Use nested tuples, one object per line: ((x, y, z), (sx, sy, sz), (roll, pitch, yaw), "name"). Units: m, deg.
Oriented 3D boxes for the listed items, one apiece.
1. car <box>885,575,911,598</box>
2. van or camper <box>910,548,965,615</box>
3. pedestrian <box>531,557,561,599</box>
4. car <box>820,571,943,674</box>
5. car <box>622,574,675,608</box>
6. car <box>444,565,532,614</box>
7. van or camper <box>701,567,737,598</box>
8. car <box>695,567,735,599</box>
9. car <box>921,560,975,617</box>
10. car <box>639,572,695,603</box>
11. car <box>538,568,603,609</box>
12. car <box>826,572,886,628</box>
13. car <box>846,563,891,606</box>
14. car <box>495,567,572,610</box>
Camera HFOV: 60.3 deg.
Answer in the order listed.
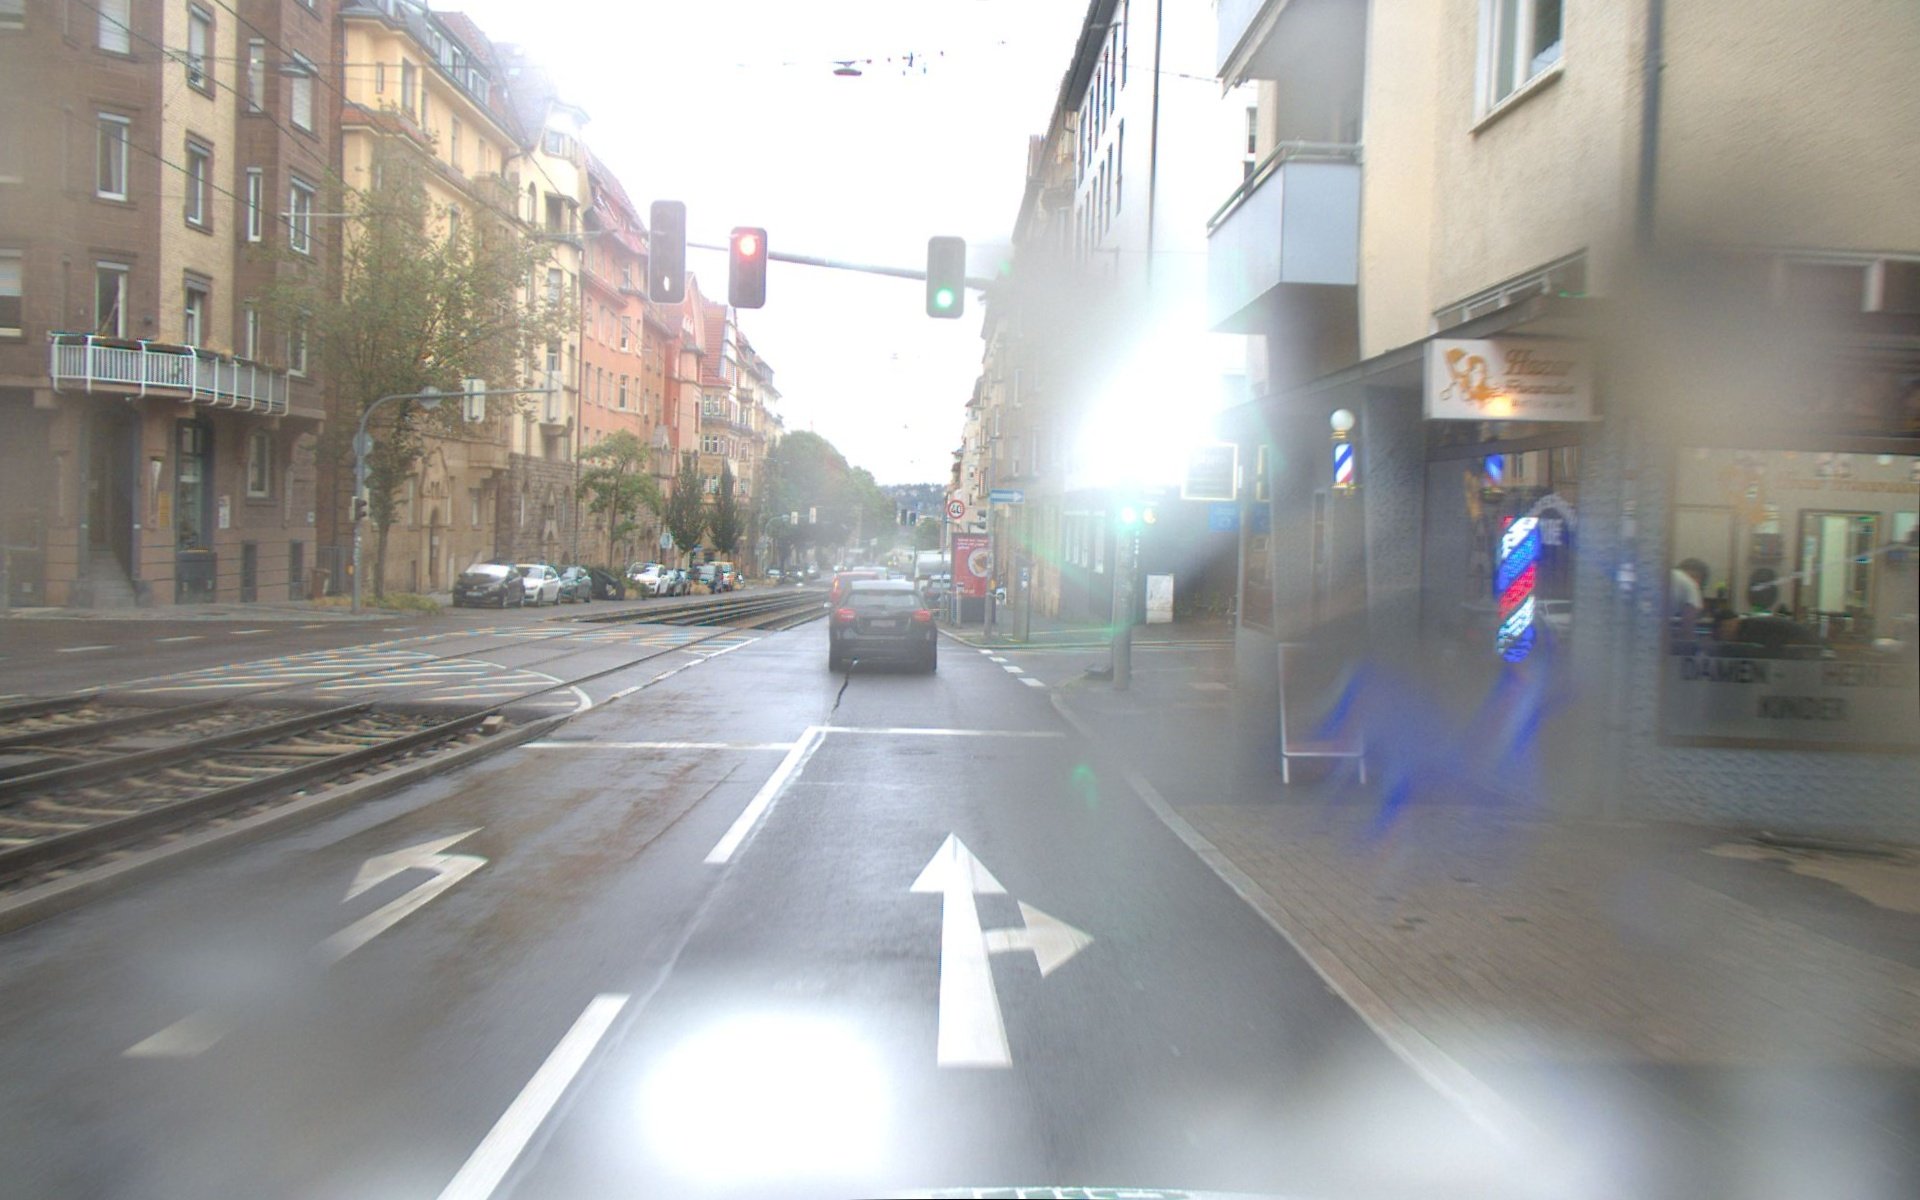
((-4.601, -1.009, 122.864), (1.864, 1.621, 3.999), (1, 0, -1), "car")
((-0.901, -0.740, 65.901), (2.022, 2.512, 6.118), (1, 0, -1), "van or camper")
((-18.076, -0.952, 72.227), (0.986, 1.784, 0.924), (3, 0, 0), "pedestrian")
((-1.288, 0.340, 27.754), (1.907, 1.592, 3.641), (1, 0, -2), "car")
((-15.828, -0.455, 84.238), (1.748, 1.617, 4.352), (2, 0, 1), "car")
((-15.445, -0.336, 54.356), (1.729, 1.512, 4.000), (1, 0, 0), "car")
((-16.676, -1.228, 114.685), (1.954, 1.934, 4.697), (3, 1, -3), "van or camper")
((-15.767, -1.096, 106.654), (1.953, 1.934, 4.698), (2, 0, -1), "car")
((-0.430, -0.416, 57.491), (1.733, 1.839, 4.481), (2, 1, -1), "car")
((-15.891, -0.697, 90.001), (1.952, 1.535, 4.976), (3, 1, 2), "car")
((-15.350, -0.489, 65.371), (1.529, 1.462, 4.147), (0, 3, 0), "car")
((-3.020, -0.035, 48.691), (1.504, 1.536, 4.000), (2, 1, -1), "car")
((-3.959, -0.706, 70.993), (1.884, 1.683, 3.998), (0, 3, -4), "car")
((-15.288, -0.420, 59.476), (1.633, 1.450, 4.263), (2, 1, 0), "car")
